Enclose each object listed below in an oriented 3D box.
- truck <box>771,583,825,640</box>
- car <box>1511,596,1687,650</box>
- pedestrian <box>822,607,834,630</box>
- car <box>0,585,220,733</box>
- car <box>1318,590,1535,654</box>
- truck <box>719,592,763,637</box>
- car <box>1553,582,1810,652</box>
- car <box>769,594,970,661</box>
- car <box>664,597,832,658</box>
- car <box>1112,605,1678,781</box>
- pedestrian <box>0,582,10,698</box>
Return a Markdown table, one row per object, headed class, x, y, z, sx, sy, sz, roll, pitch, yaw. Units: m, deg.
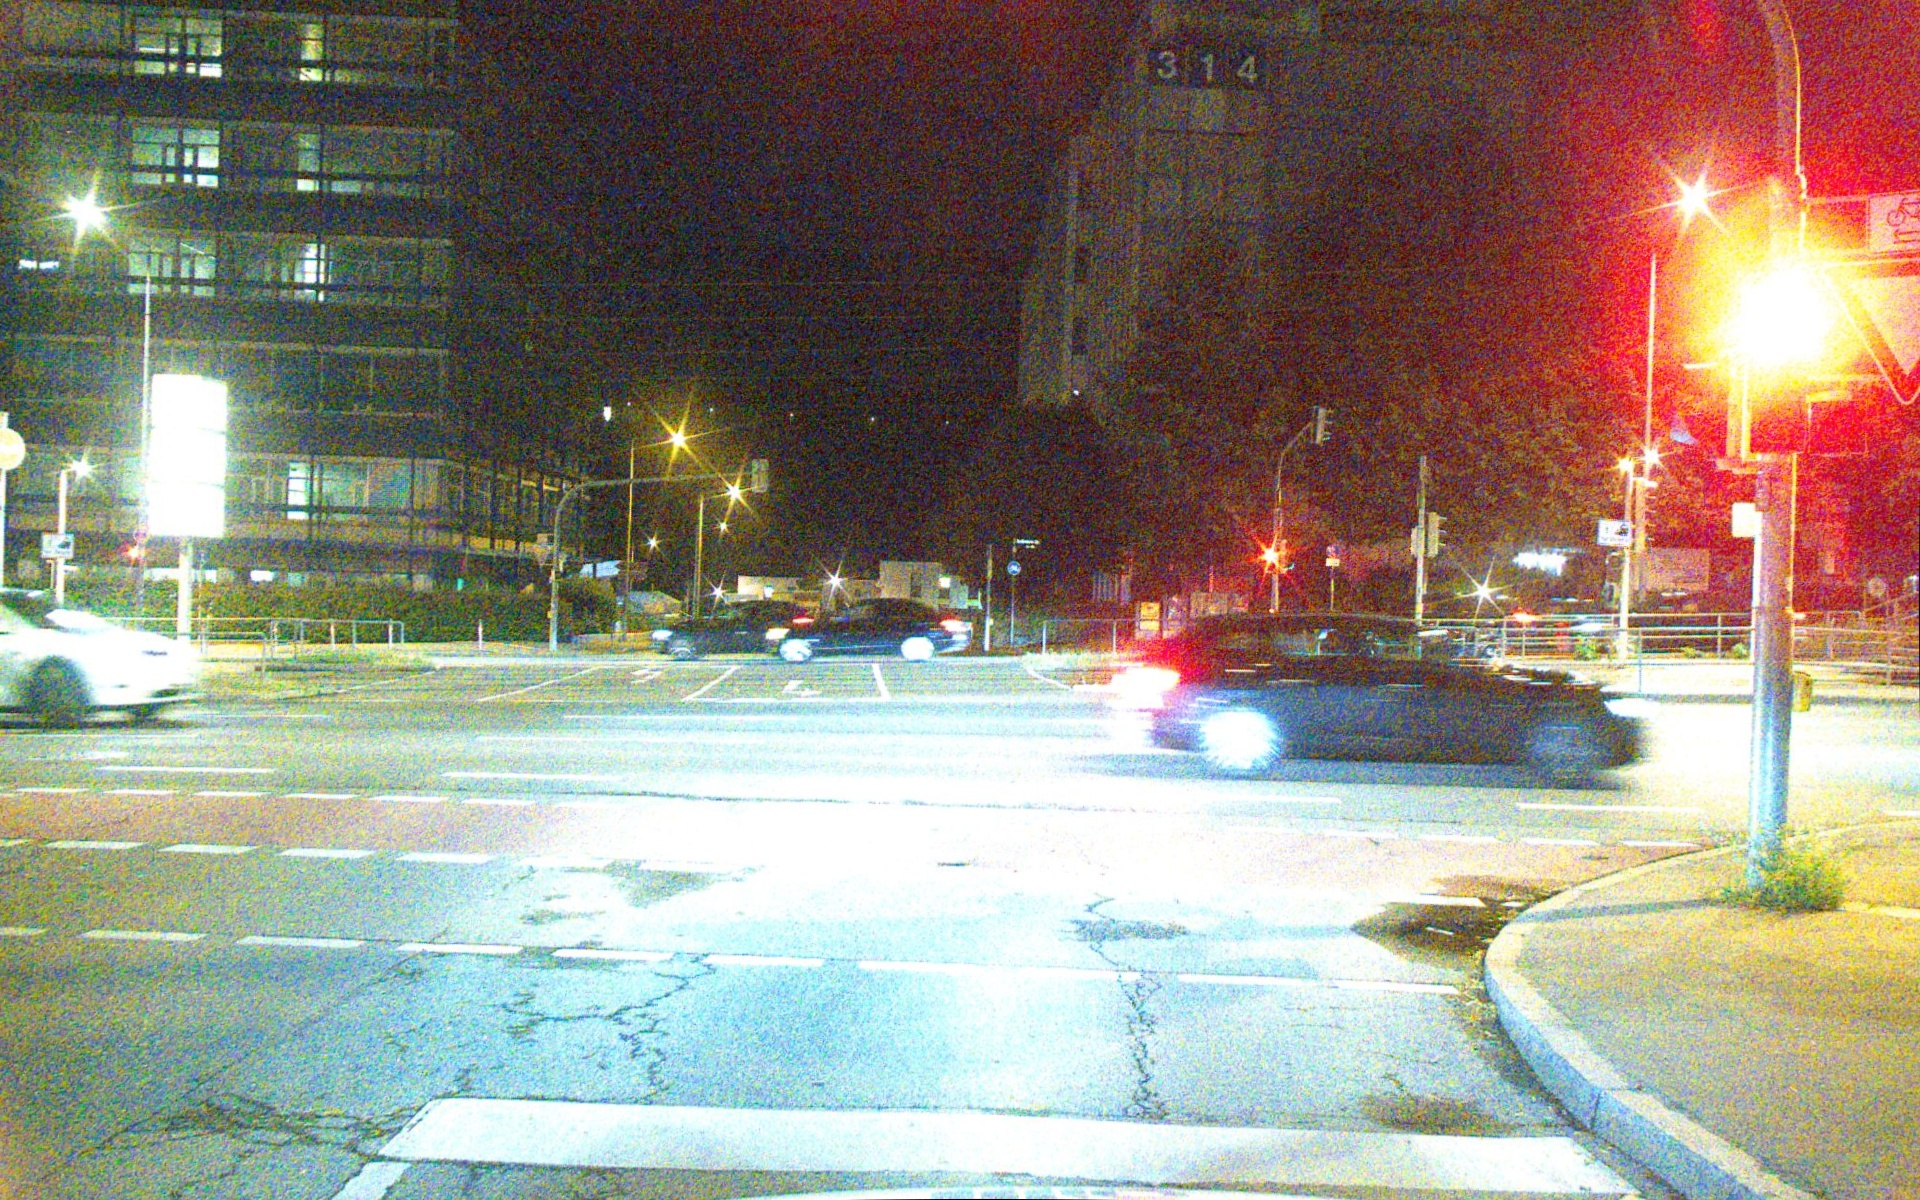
| class | x | y | z | sx | sy | sz | roll | pitch | yaw |
| --- | --- | --- | --- | --- | --- | --- | --- | --- | --- |
| truck | -14.622 | 1.020 | 148.606 | 3.307 | 4.927 | 7.868 | 2 | -1 | -17 |
| car | 16.399 | 0.586 | 42.544 | 3.939 | 1.308 | 1.540 | -1 | 0 | 3 |
| pedestrian | -11.753 | 1.649 | 147.437 | 0.836 | 1.945 | 1.001 | 2 | -1 | -18 |
| car | -11.471 | 0.671 | 19.369 | 4.818 | 1.626 | 1.745 | -1 | 1 | 2 |
| car | 11.169 | 0.525 | 39.815 | 4.718 | 1.445 | 1.851 | -1 | 0 | 3 |
| truck | -15.967 | 1.053 | 120.316 | 2.377 | 3.143 | 6.414 | 2 | -1 | -14 |
| car | 15.790 | 0.368 | 36.385 | 4.838 | 1.445 | 1.851 | -1 | 0 | 3 |
| car | -1.999 | 0.610 | 37.430 | 4.335 | 1.445 | 1.851 | -1 | 0 | 3 |
| car | -5.131 | 0.665 | 40.390 | 3.790 | 1.429 | 1.769 | -1 | 0 | 3 |
| car | 3.861 | 0.812 | 15.320 | 4.818 | 1.499 | 1.745 | 0 | 1 | 2 |
| pedestrian | -14.881 | 0.600 | 24.898 | 0.663 | 1.752 | 0.706 | 1 | -1 | 24 |
